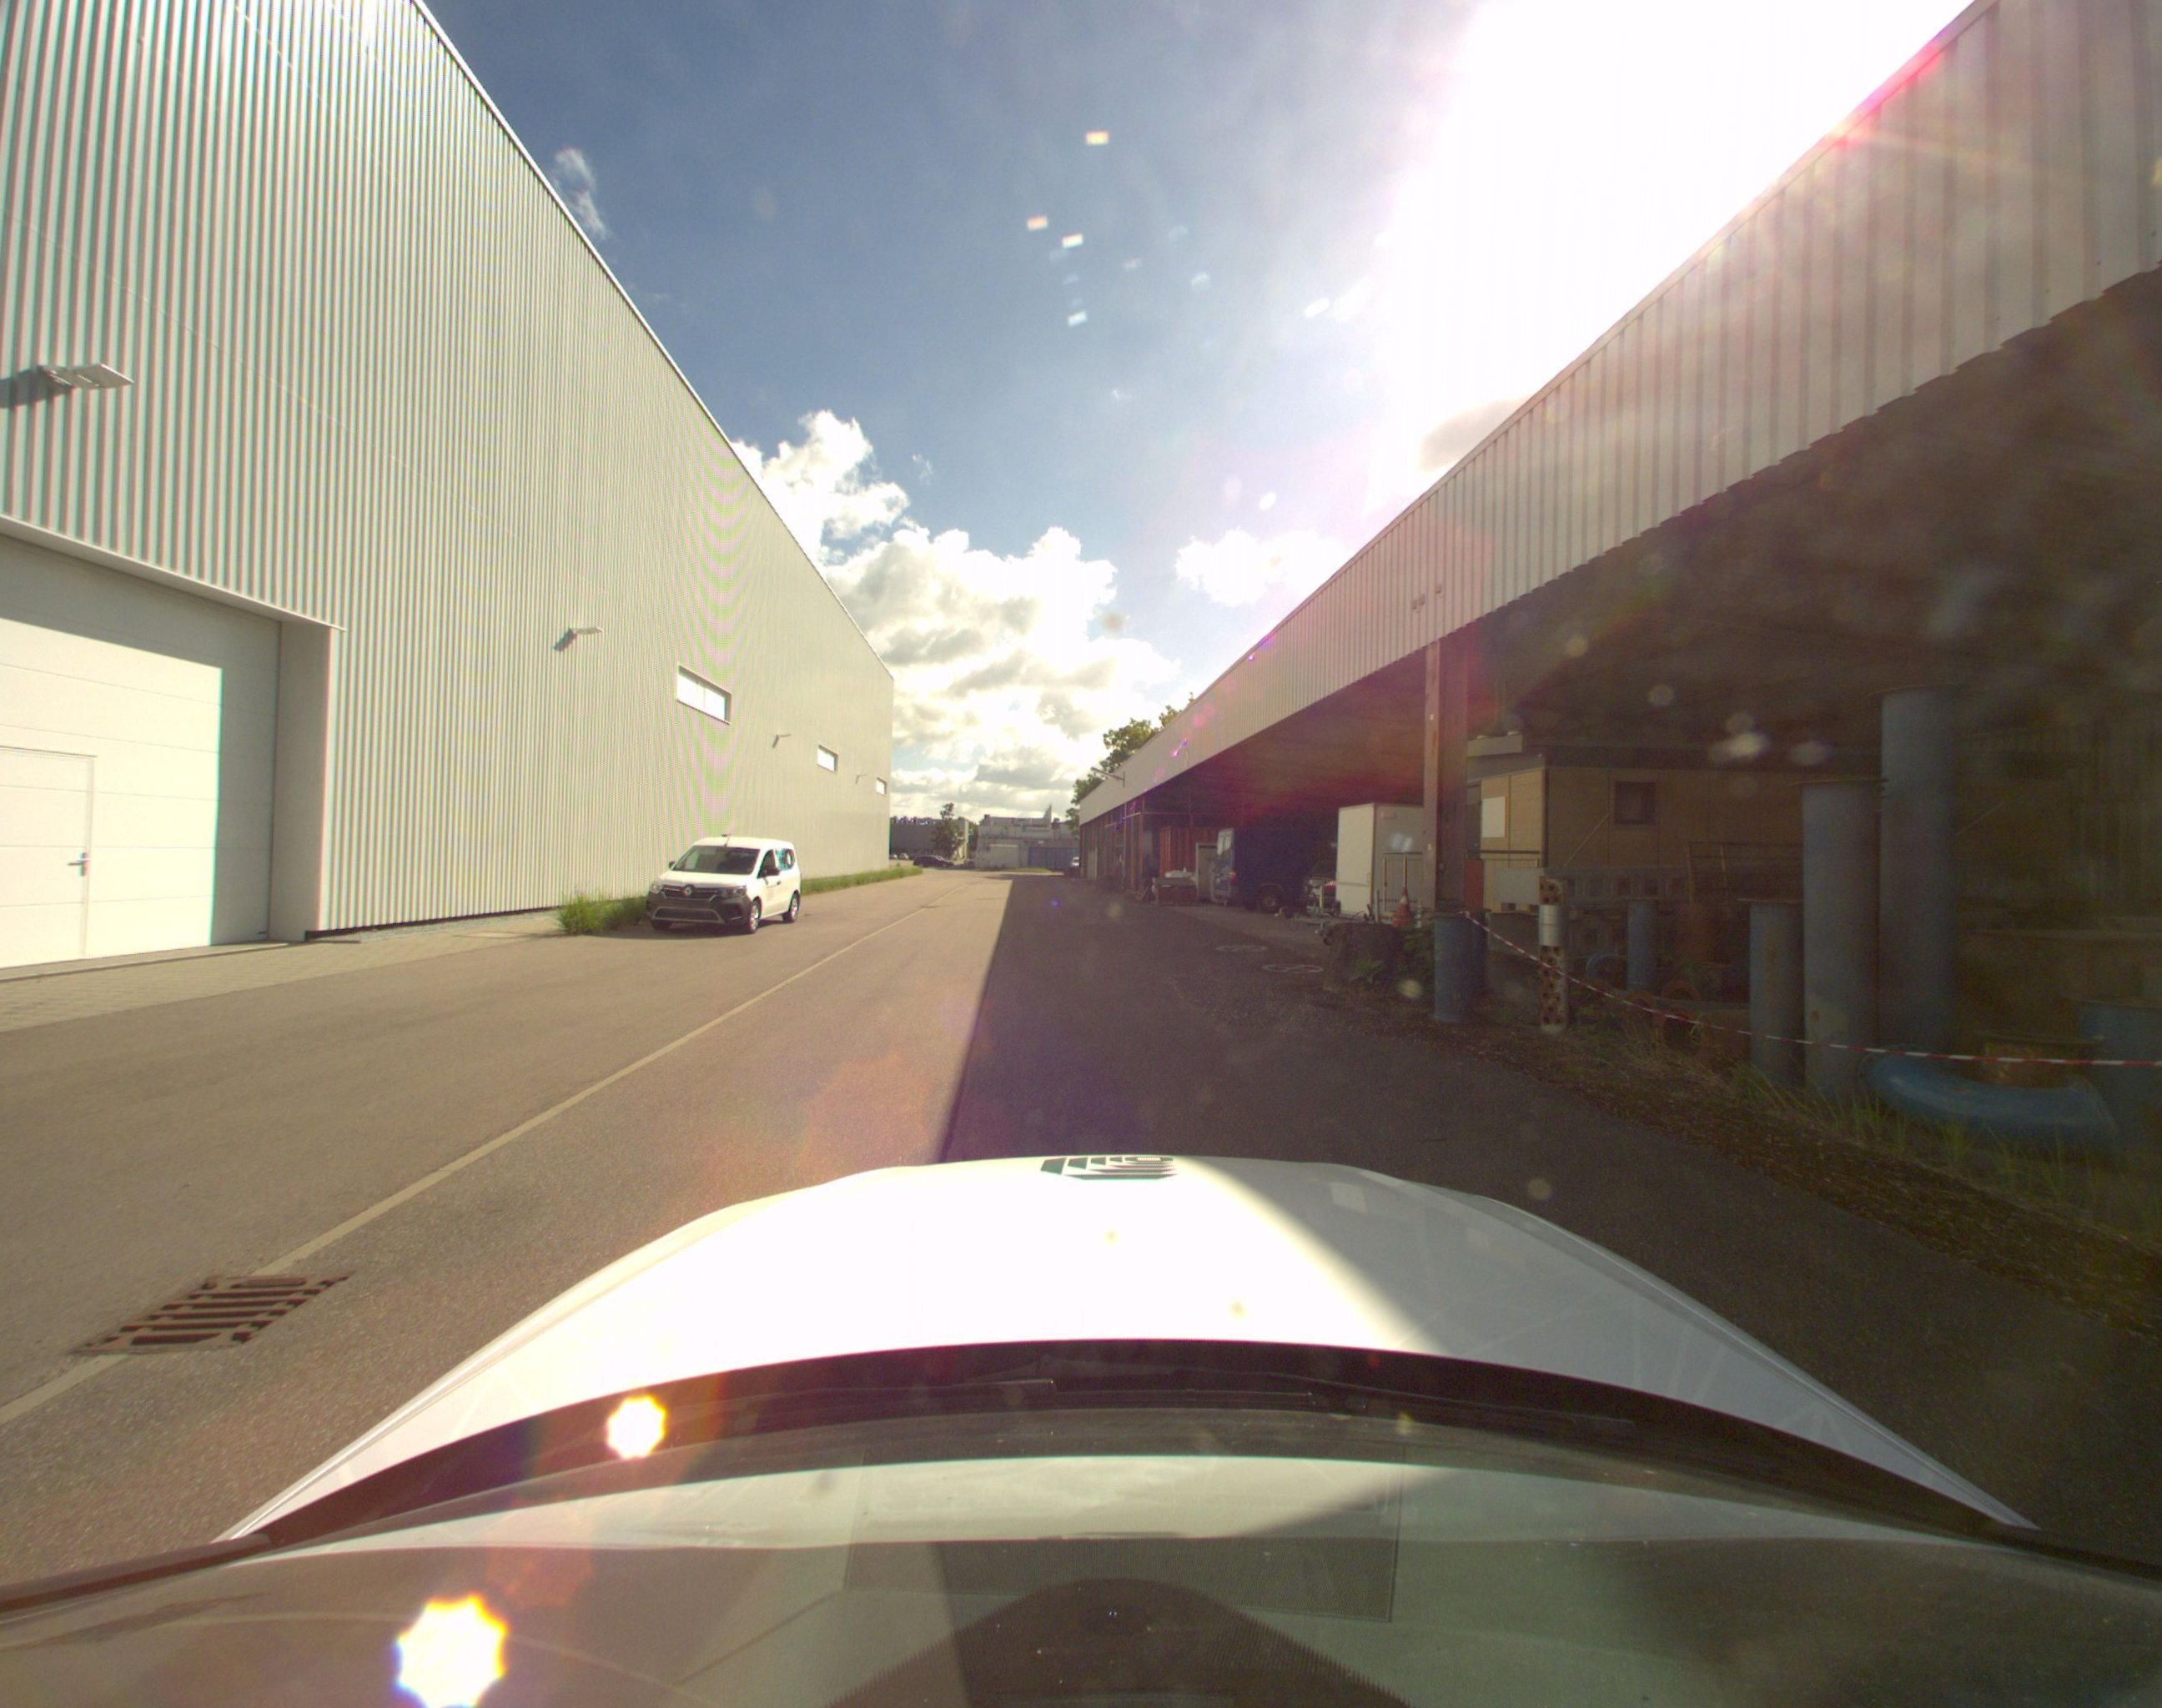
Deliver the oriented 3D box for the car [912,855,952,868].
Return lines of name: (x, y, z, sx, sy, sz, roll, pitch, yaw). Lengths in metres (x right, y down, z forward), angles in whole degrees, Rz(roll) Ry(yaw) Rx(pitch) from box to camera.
car: (-17.835, 0.877, 97.775, 4.522, 1.443, 1.984, 1, -2, -5)

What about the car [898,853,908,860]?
car: (-42.063, 0.597, 192.734, 1.876, 1.537, 4.025, 0, -1, -7)

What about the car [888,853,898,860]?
car: (-44.359, 0.611, 192.289, 1.876, 1.537, 4.025, 0, -1, -7)

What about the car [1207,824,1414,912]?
car: (6.357, 0.399, 22.888, 5.209, 2.297, 2.080, 1, -1, -6)

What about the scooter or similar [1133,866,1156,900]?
scooter or similar: (2.193, 0.986, 28.278, 0.519, 1.134, 1.589, 1, -1, -5)

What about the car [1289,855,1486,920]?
car: (7.362, 0.780, 19.773, 4.101, 1.454, 1.847, 0, -1, -6)

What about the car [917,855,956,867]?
car: (-17.864, 0.894, 101.040, 4.522, 1.443, 1.900, 1, -2, -5)

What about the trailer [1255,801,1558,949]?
trailer: (5.444, 0.316, 13.921, 4.533, 2.335, 1.686, 0, 0, -5)

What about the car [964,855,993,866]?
car: (-15.806, 1.043, 125.797, 4.272, 1.569, 1.984, 1, -2, -5)

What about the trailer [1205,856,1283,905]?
trailer: (5.034, 0.824, 25.368, 2.088, 1.462, 1.640, 0, -1, -2)

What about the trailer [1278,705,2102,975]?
trailer: (8.266, -0.205, 11.667, 10.274, 3.295, 2.671, 0, 0, -5)

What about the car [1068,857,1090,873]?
car: (-0.227, 1.137, 86.846, 1.978, 1.593, 4.333, 2, 1, -5)

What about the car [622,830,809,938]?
car: (-7.083, 0.525, 16.397, 1.925, 1.790, 4.590, 3, 0, -5)

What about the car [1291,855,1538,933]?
car: (6.728, 0.767, 16.645, 4.341, 1.433, 1.859, 0, -1, -9)
